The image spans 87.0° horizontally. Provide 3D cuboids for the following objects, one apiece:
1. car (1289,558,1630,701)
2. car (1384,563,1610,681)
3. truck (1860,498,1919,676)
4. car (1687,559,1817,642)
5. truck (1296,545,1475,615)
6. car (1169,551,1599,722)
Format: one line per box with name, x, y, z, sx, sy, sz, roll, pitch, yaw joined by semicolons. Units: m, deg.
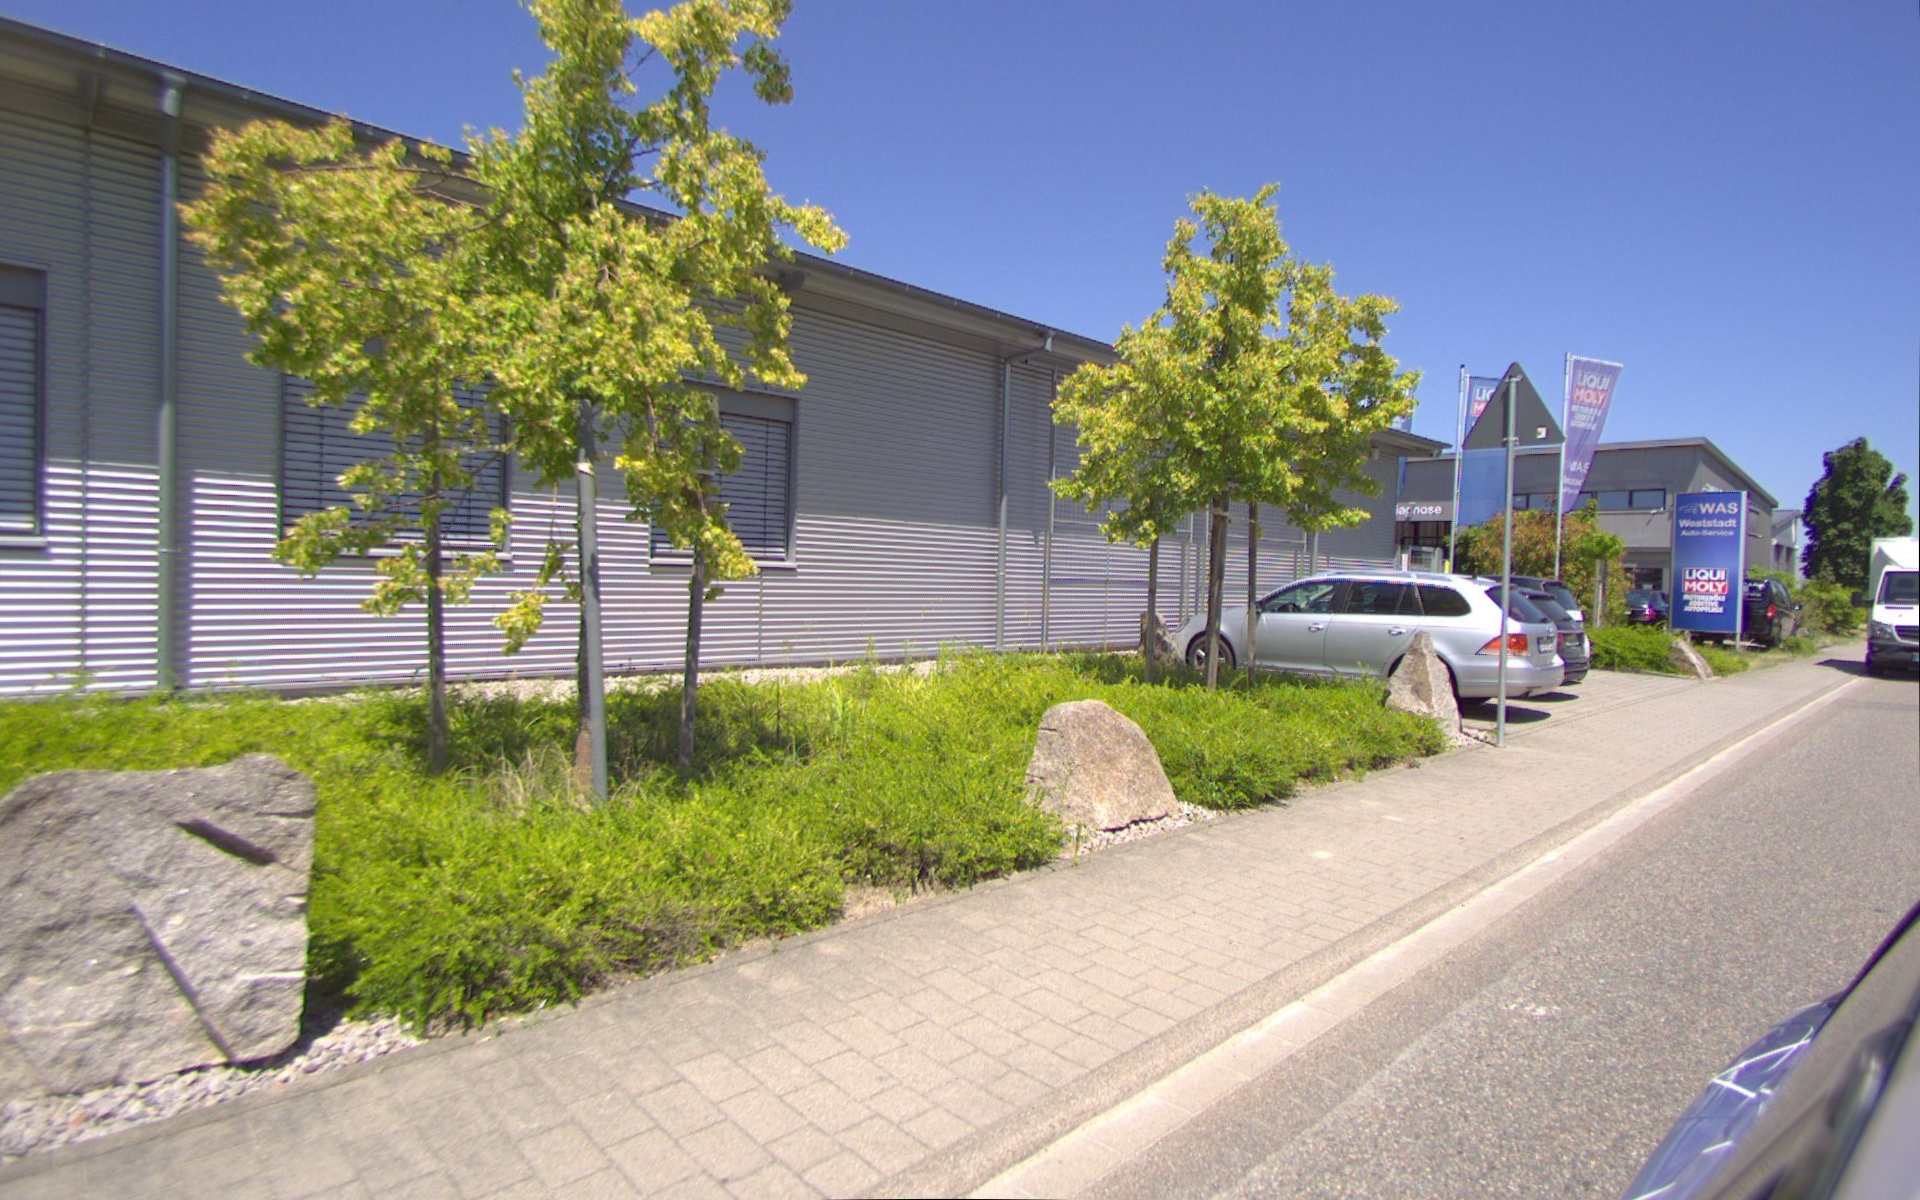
car;6.663;0.290;13.762;1.880;1.560;3.699;0;3;-42
car;8.176;0.266;15.533;1.388;1.560;2.711;0;3;-42
truck;20.368;-0.214;20.489;6.765;3.245;2.461;0;2;-43
car;21.822;-0.011;27.798;5.247;2.038;1.996;0;2;-44
truck;16.227;-0.846;38.891;2.144;2.399;5.943;0;3;-42
car;4.855;0.279;11.994;4.281;1.560;1.883;4;3;44
